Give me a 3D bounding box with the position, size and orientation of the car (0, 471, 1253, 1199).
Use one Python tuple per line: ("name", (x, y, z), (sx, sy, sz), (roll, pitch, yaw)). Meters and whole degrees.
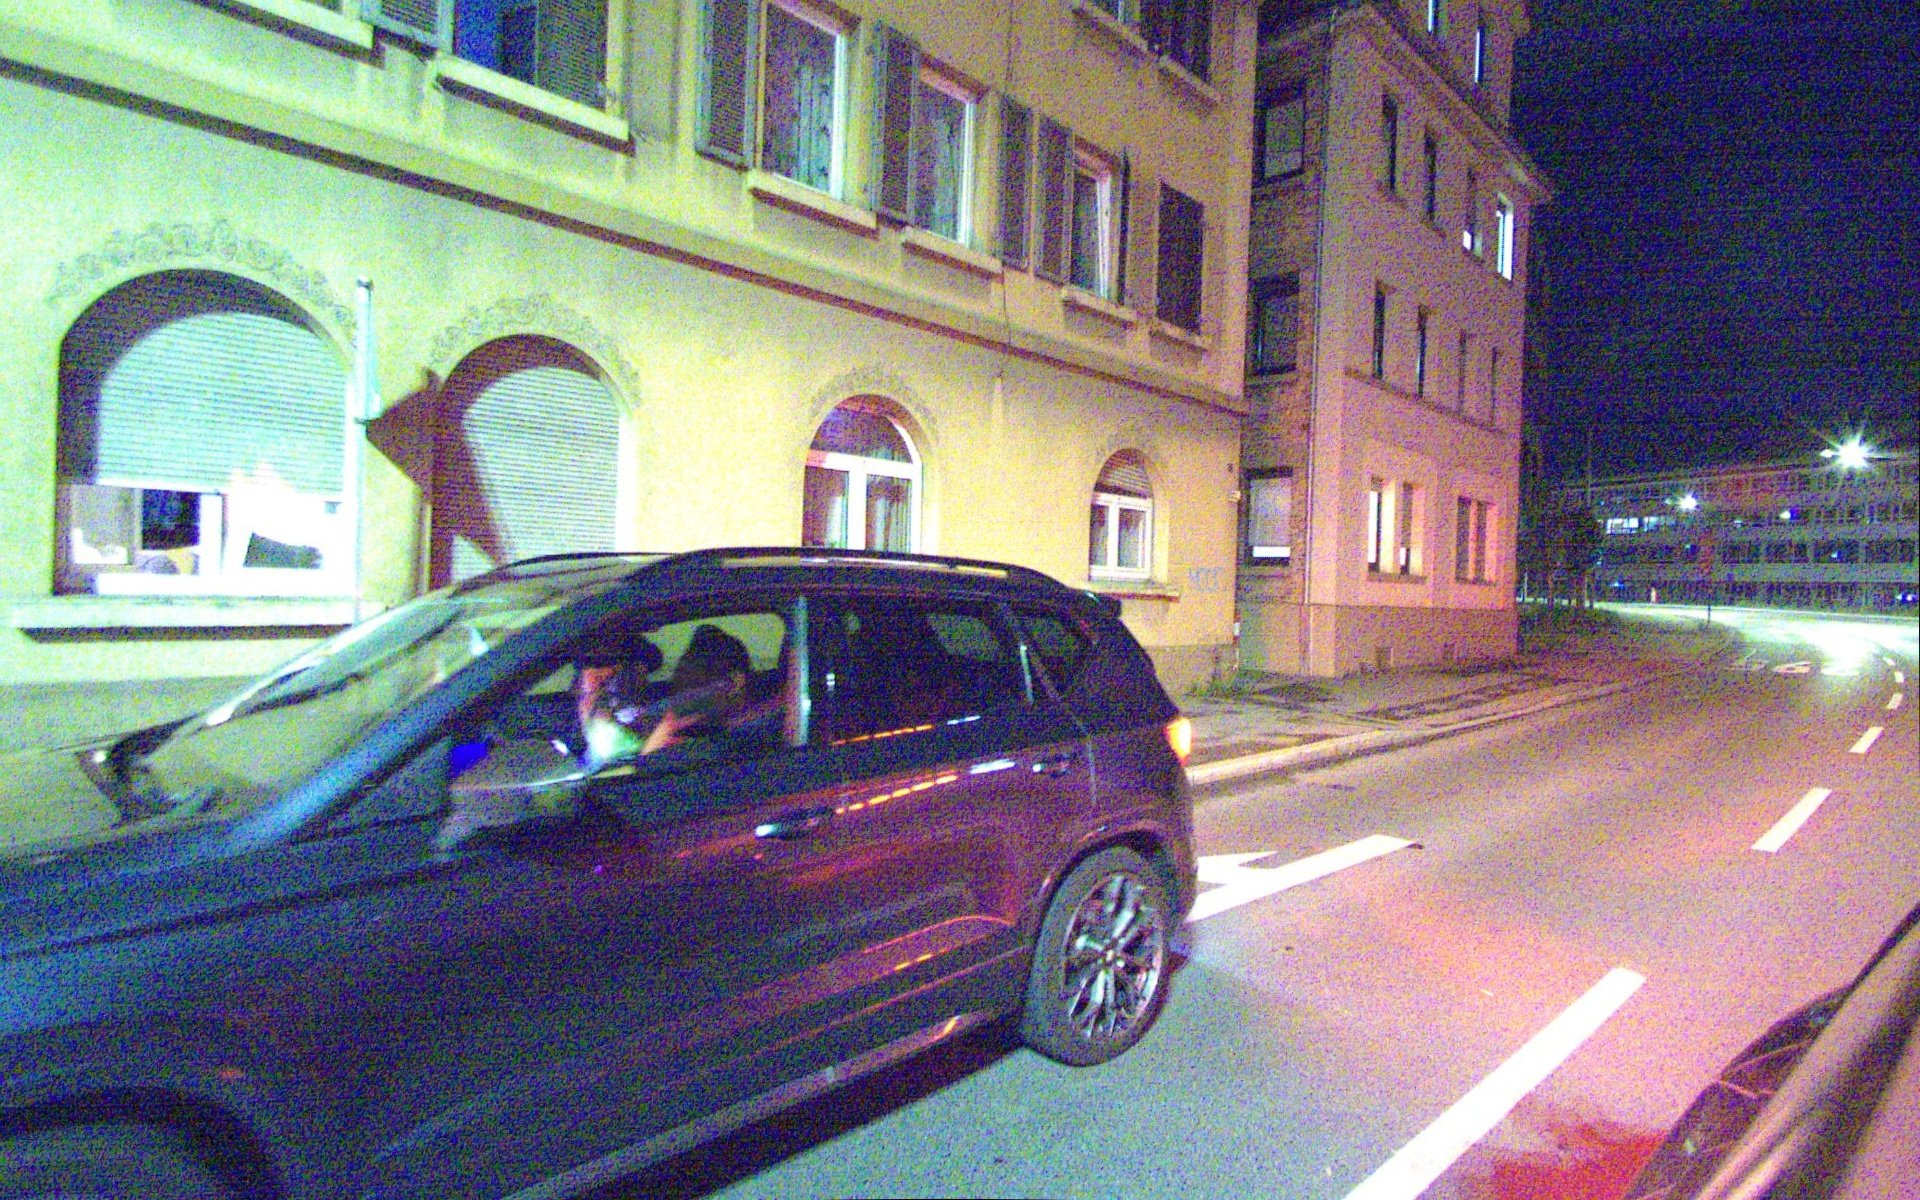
("car", (-0.976, 0.597, 2.919), (4.160, 1.630, 1.671), (-2, 2, -44))
